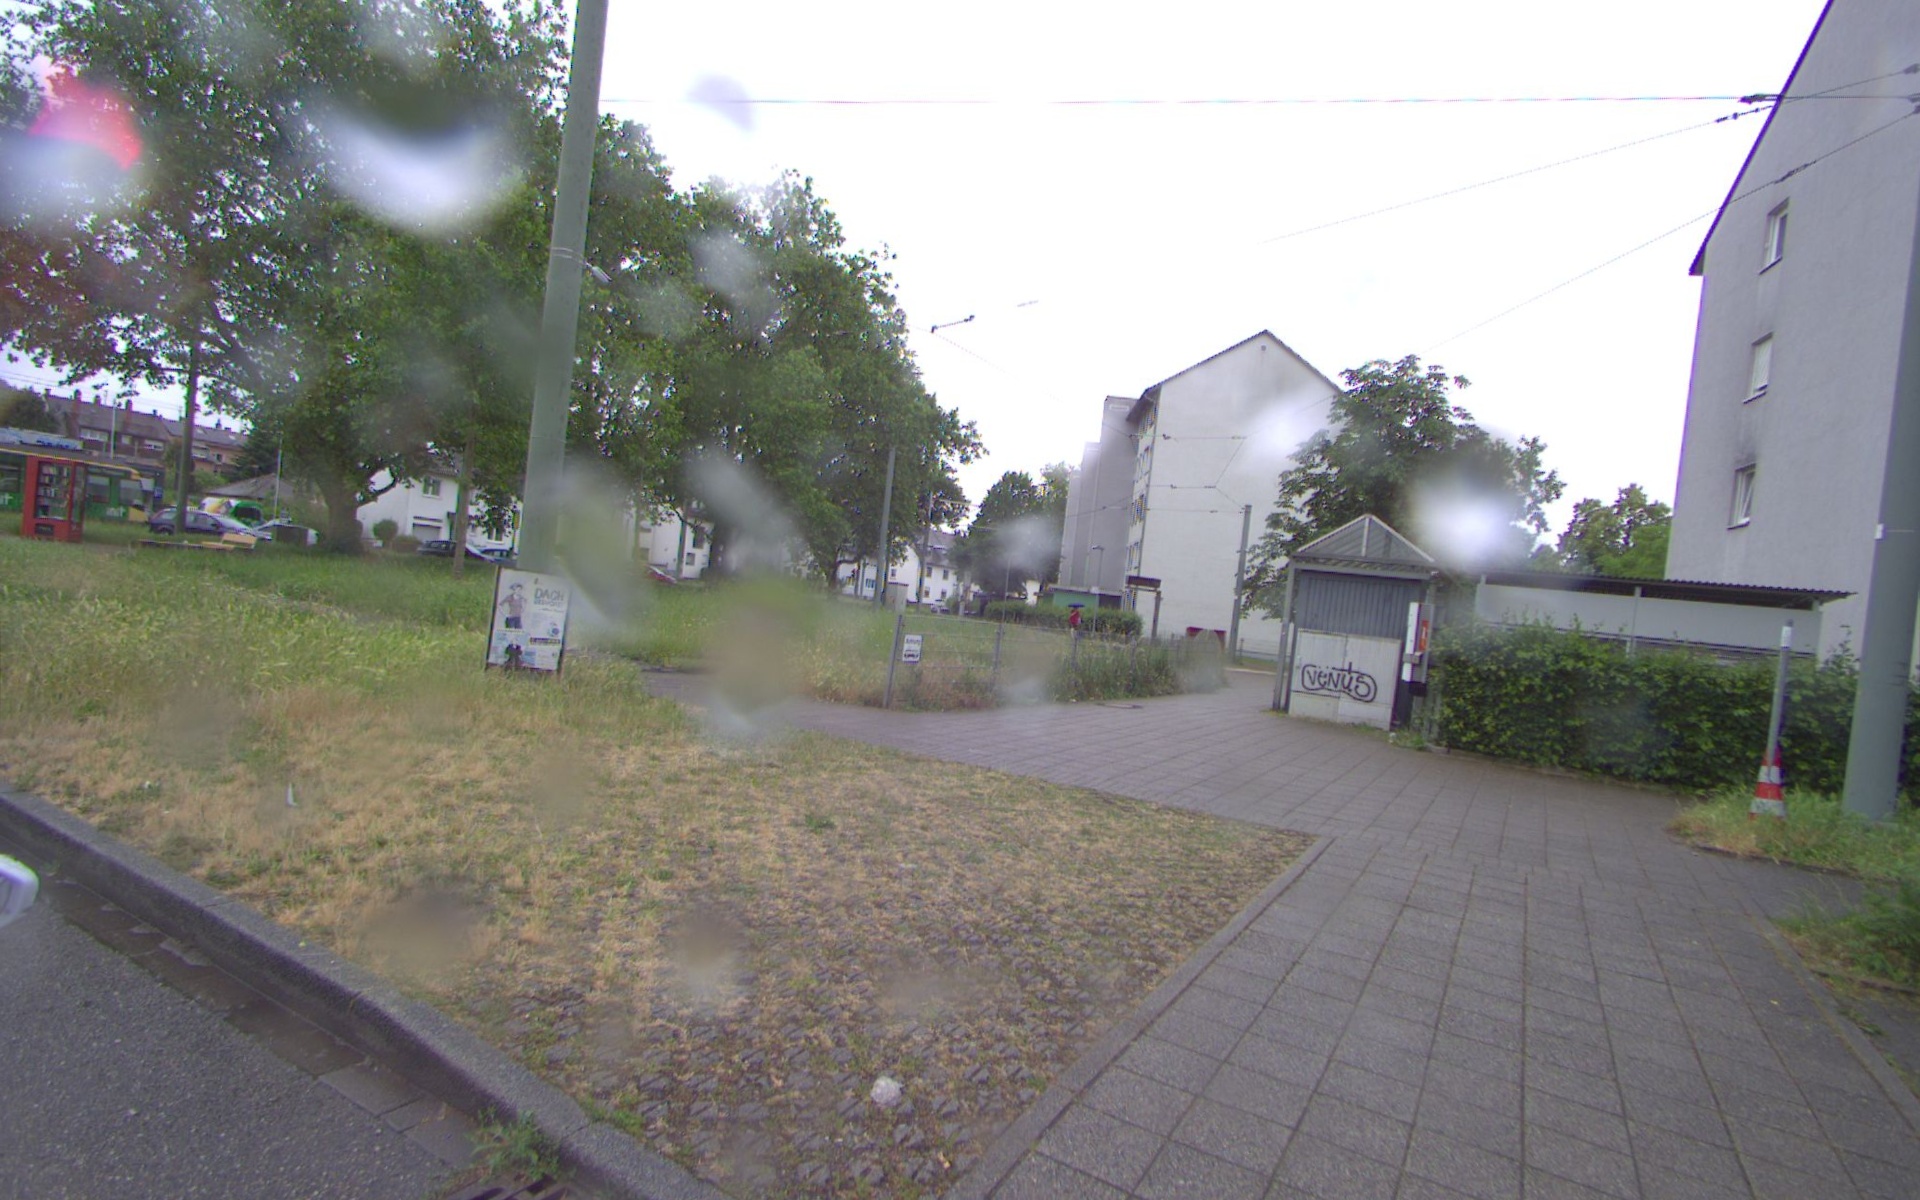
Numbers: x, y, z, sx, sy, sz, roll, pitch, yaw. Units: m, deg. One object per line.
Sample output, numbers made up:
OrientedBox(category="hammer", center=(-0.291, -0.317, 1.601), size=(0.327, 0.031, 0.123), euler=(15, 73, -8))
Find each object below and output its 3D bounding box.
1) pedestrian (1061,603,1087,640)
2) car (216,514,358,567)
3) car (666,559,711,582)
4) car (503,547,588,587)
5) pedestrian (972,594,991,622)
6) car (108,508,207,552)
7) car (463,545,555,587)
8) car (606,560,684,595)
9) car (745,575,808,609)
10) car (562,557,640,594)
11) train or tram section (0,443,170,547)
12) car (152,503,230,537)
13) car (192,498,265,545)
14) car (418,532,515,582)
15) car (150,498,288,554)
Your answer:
OrientedBox(category="pedestrian", center=(5.499, 1.040, 48.573), size=(0.878, 1.674, 0.816), euler=(7, -1, -10))
OrientedBox(category="car", center=(-25.166, -2.199, 37.712), size=(1.819, 1.300, 3.987), euler=(6, -3, 39))
OrientedBox(category="car", center=(-25.718, -2.786, 95.527), size=(1.859, 1.679, 3.692), euler=(6, -2, 32))
OrientedBox(category="car", center=(-21.984, -1.718, 53.501), size=(3.855, 1.512, 1.806), euler=(8, -2, -15))
OrientedBox(category="pedestrian", center=(1.432, 0.547, 68.214), size=(1.022, 1.811, 0.818), euler=(7, -1, -3))
OrientedBox(category="car", center=(-43.432, -3.771, 54.512), size=(1.859, 1.720, 3.692), euler=(6, -2, 32))
OrientedBox(category="car", center=(-22.813, -1.697, 51.066), size=(3.855, 1.512, 1.806), euler=(8, -2, -15))
OrientedBox(category="car", center=(-18.634, -1.324, 59.592), size=(3.842, 1.513, 1.812), euler=(7, -2, 3))
OrientedBox(category="car", center=(-12.747, -0.537, 70.105), size=(3.843, 1.785, 1.812), euler=(7, -2, 0))
OrientedBox(category="car", center=(-20.116, -1.350, 56.535), size=(3.855, 1.512, 1.806), euler=(8, -2, -15))
OrientedBox(category="train or tram section", center=(-41.356, -4.884, 42.449), size=(2.717, 3.595, 13.141), euler=(7, -1, 17))
OrientedBox(category="car", center=(-55.471, -5.750, 72.607), size=(1.816, 1.658, 3.995), euler=(6, -2, 32))
OrientedBox(category="car", center=(-46.750, -5.044, 64.270), size=(4.280, 2.471, 1.998), euler=(6, -2, 31))
OrientedBox(category="car", center=(-23.735, -2.033, 48.532), size=(3.710, 1.819, 1.806), euler=(8, -2, -15))
OrientedBox(category="car", center=(-29.197, -2.888, 39.786), size=(3.855, 1.512, 1.806), euler=(8, -2, -15))
